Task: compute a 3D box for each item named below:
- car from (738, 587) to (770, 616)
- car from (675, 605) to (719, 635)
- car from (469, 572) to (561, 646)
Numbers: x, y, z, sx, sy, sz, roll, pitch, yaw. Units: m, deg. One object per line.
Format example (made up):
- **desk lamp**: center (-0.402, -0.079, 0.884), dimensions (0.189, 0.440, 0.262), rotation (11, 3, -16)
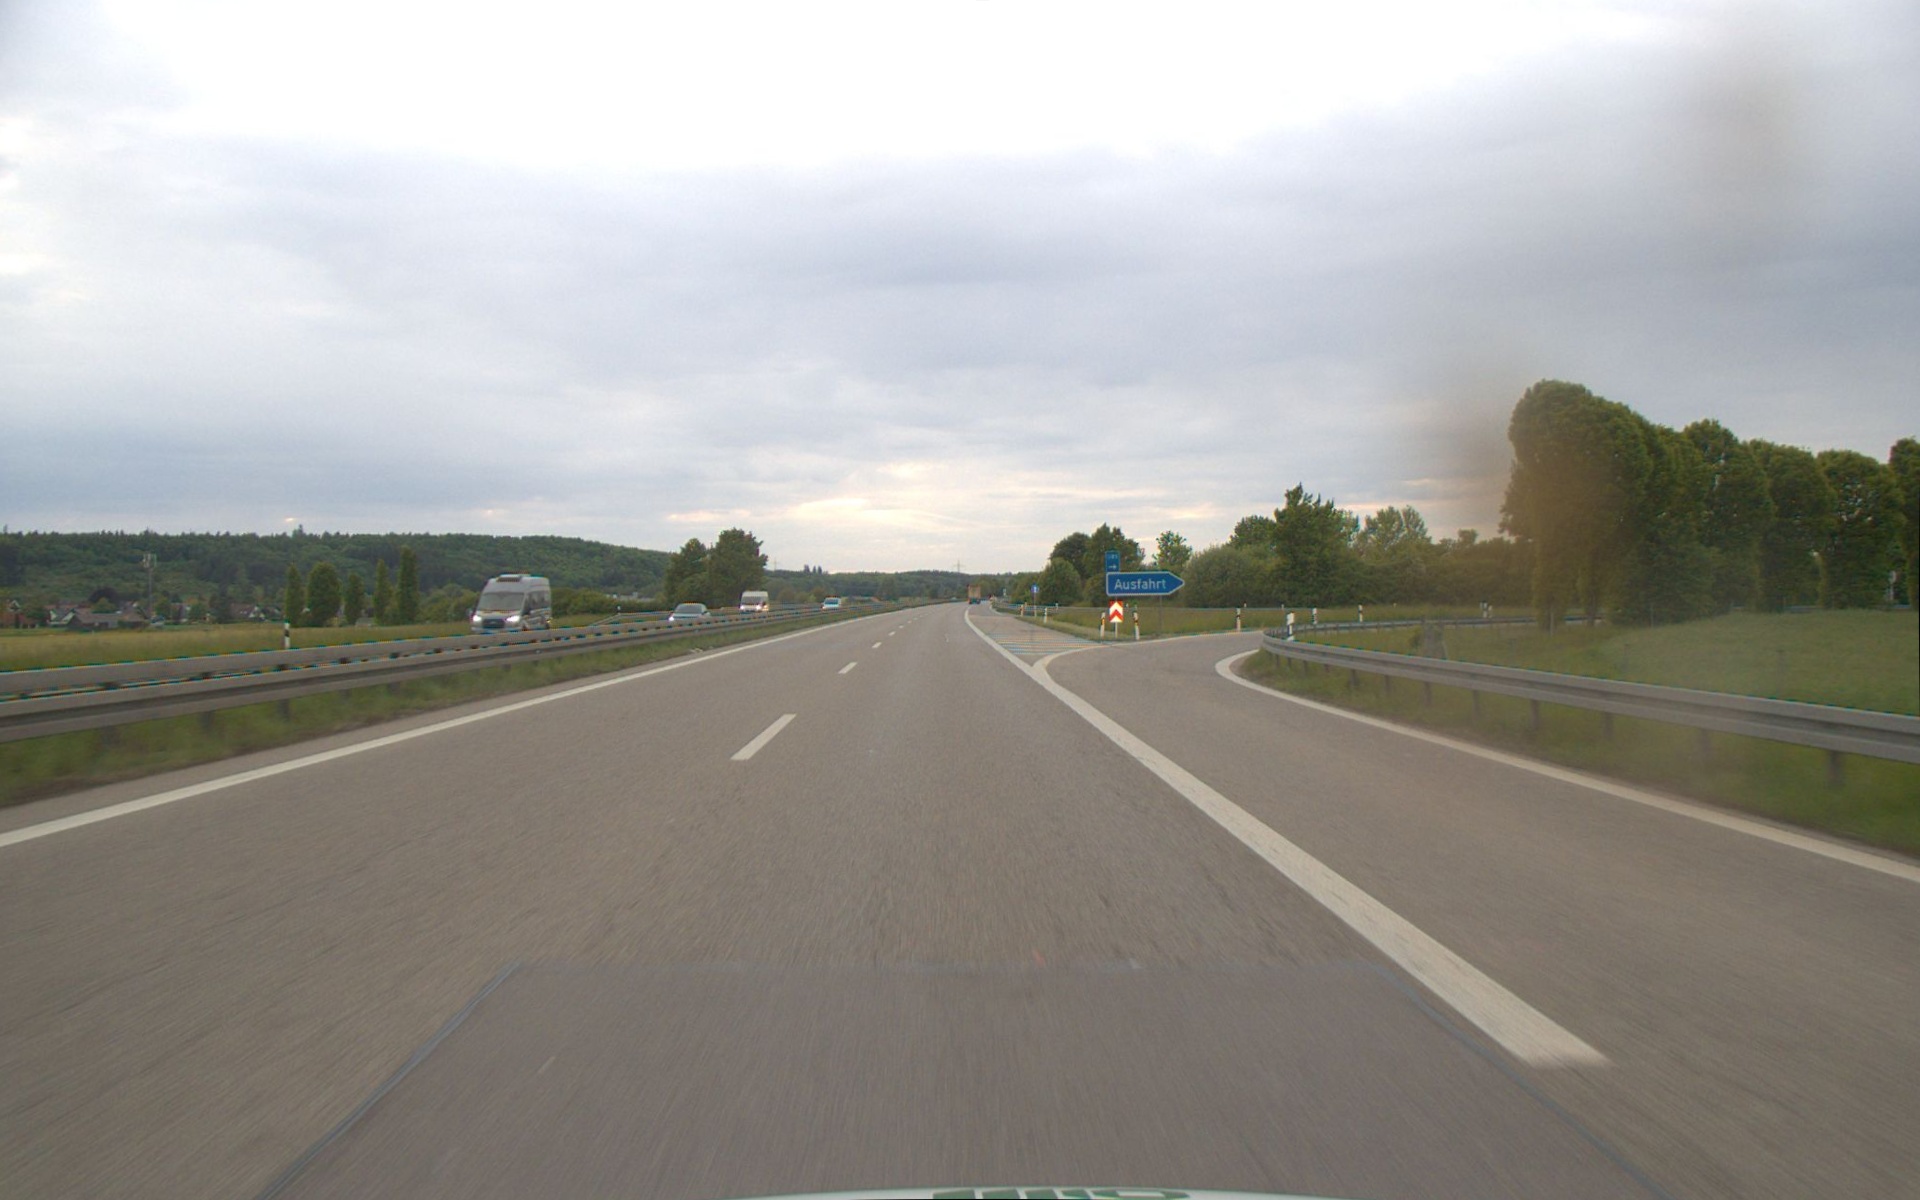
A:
- **car**: center (-18.449, 0.155, 148.612), dimensions (2.102, 2.526, 6.588), rotation (0, 0, -1)
- **car**: center (-13.968, 1.030, 88.025), dimensions (1.711, 1.534, 4.199), rotation (0, 0, -1)
- **car**: center (-18.139, 0.338, 67.709), dimensions (2.063, 2.850, 6.426), rotation (0, 0, -1)
